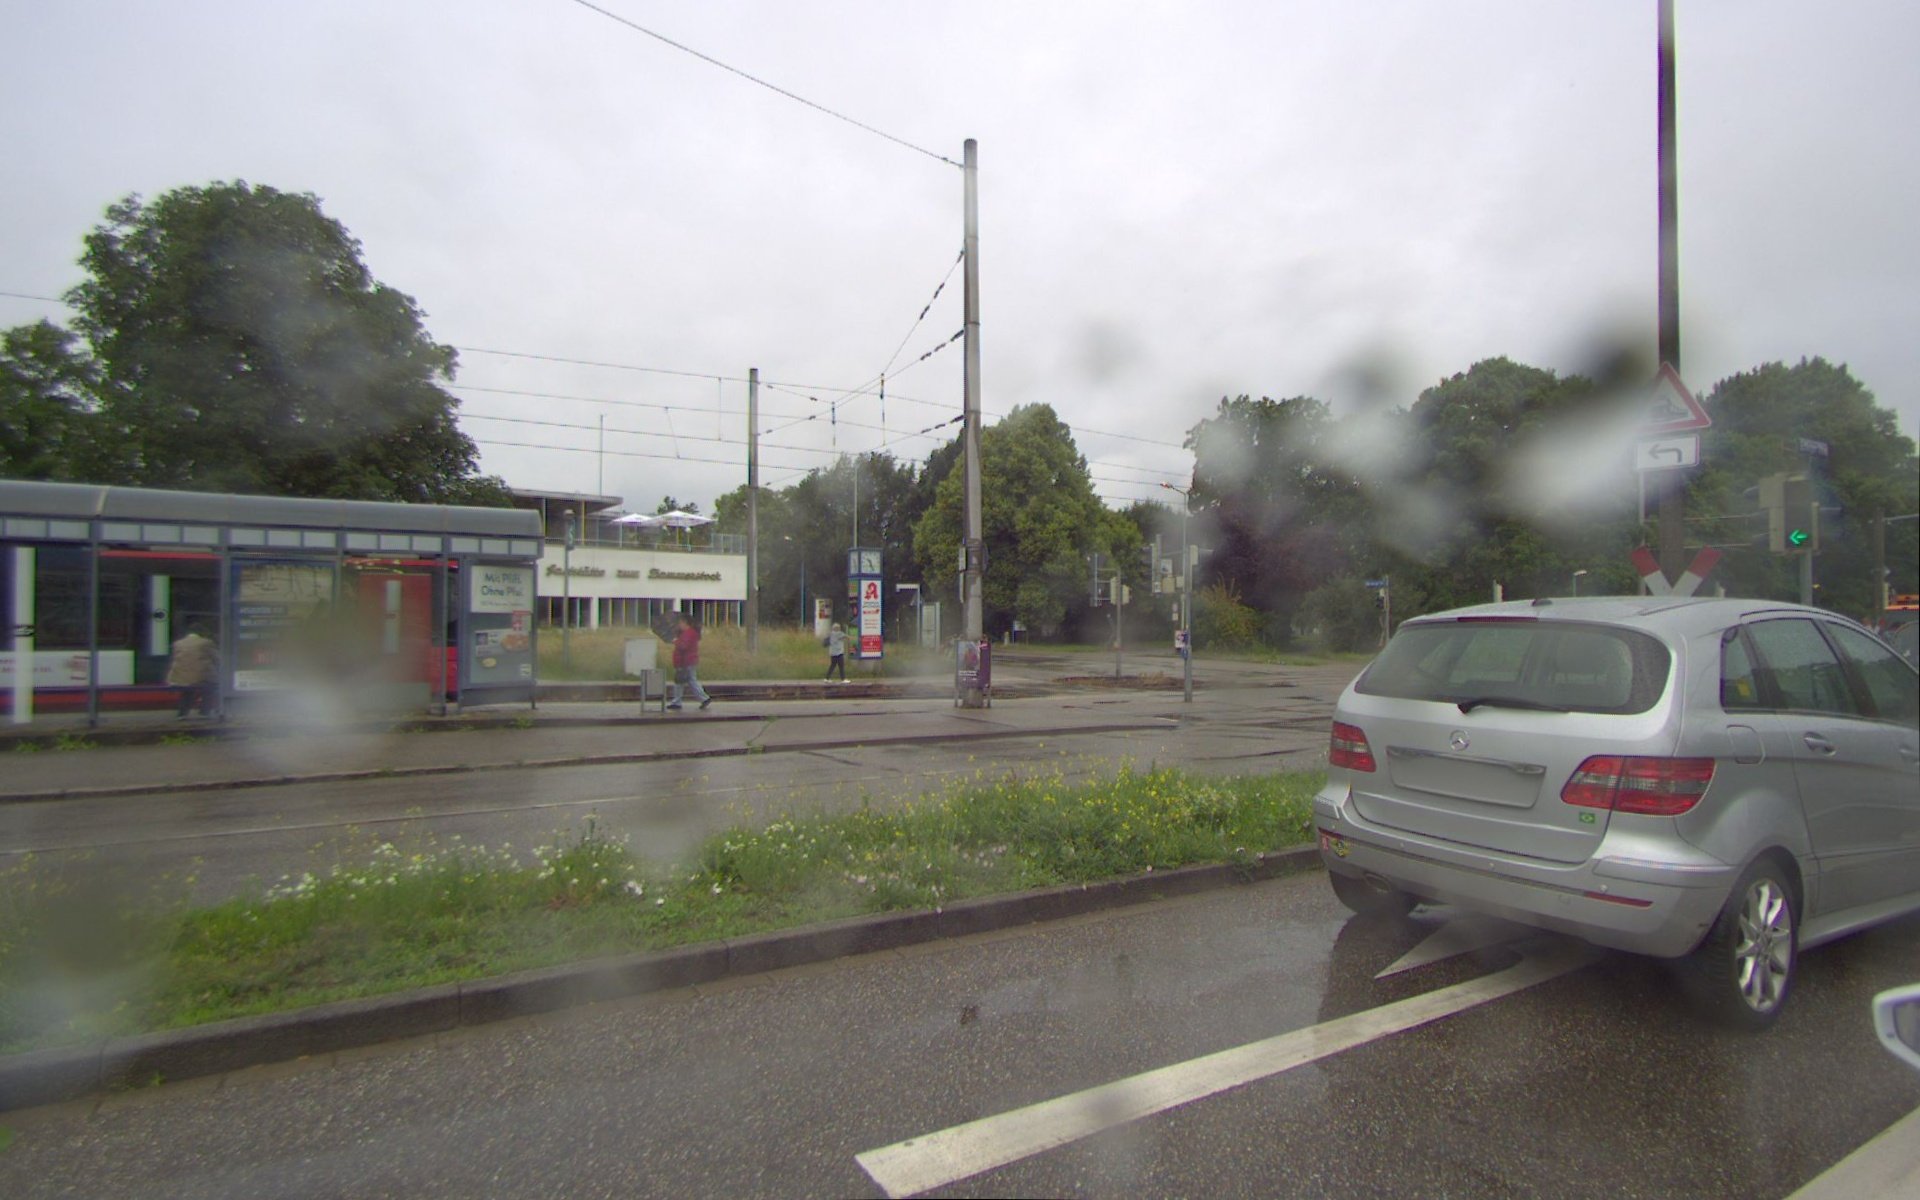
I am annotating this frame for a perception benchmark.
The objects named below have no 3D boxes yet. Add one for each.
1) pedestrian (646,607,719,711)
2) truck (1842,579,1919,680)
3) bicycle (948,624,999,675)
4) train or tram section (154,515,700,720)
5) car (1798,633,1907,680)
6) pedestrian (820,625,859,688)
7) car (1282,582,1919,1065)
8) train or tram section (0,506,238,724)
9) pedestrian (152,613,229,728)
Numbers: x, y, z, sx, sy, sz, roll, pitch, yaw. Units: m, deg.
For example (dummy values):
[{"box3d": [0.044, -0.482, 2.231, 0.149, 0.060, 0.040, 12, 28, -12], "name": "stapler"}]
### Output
[{"box3d": [-4.778, 0.994, 17.282, 0.985, 1.698, 0.920, 2, 0, -30], "name": "pedestrian"}, {"box3d": [43.886, 1.344, 45.210, 10.289, 4.223, 3.367, 2, 0, -32], "name": "truck"}, {"box3d": [0.474, 1.734, 35.440, 1.714, 1.784, 0.637, 1, -1, -30], "name": "bicycle"}, {"box3d": [-10.374, 0.413, 20.682, 9.169, 3.434, 3.517, 1, -2, -30], "name": "train or tram section"}, {"box3d": [36.070, 2.267, 40.564, 4.473, 1.732, 1.984, 2, 0, -30], "name": "car"}, {"box3d": [-3.337, 1.562, 27.865, 0.795, 1.679, 0.776, 1, 0, -31], "name": "pedestrian"}, {"box3d": [3.659, 0.773, 5.040, 3.967, 1.564, 1.727, 1, -1, -31], "name": "car"}, {"box3d": [-17.673, 0.249, 16.373, 9.169, 3.435, 3.517, 1, -2, -30], "name": "train or tram section"}, {"box3d": [-10.201, 0.919, 13.332, 0.691, 1.472, 0.623, 1, -1, -28], "name": "pedestrian"}]
